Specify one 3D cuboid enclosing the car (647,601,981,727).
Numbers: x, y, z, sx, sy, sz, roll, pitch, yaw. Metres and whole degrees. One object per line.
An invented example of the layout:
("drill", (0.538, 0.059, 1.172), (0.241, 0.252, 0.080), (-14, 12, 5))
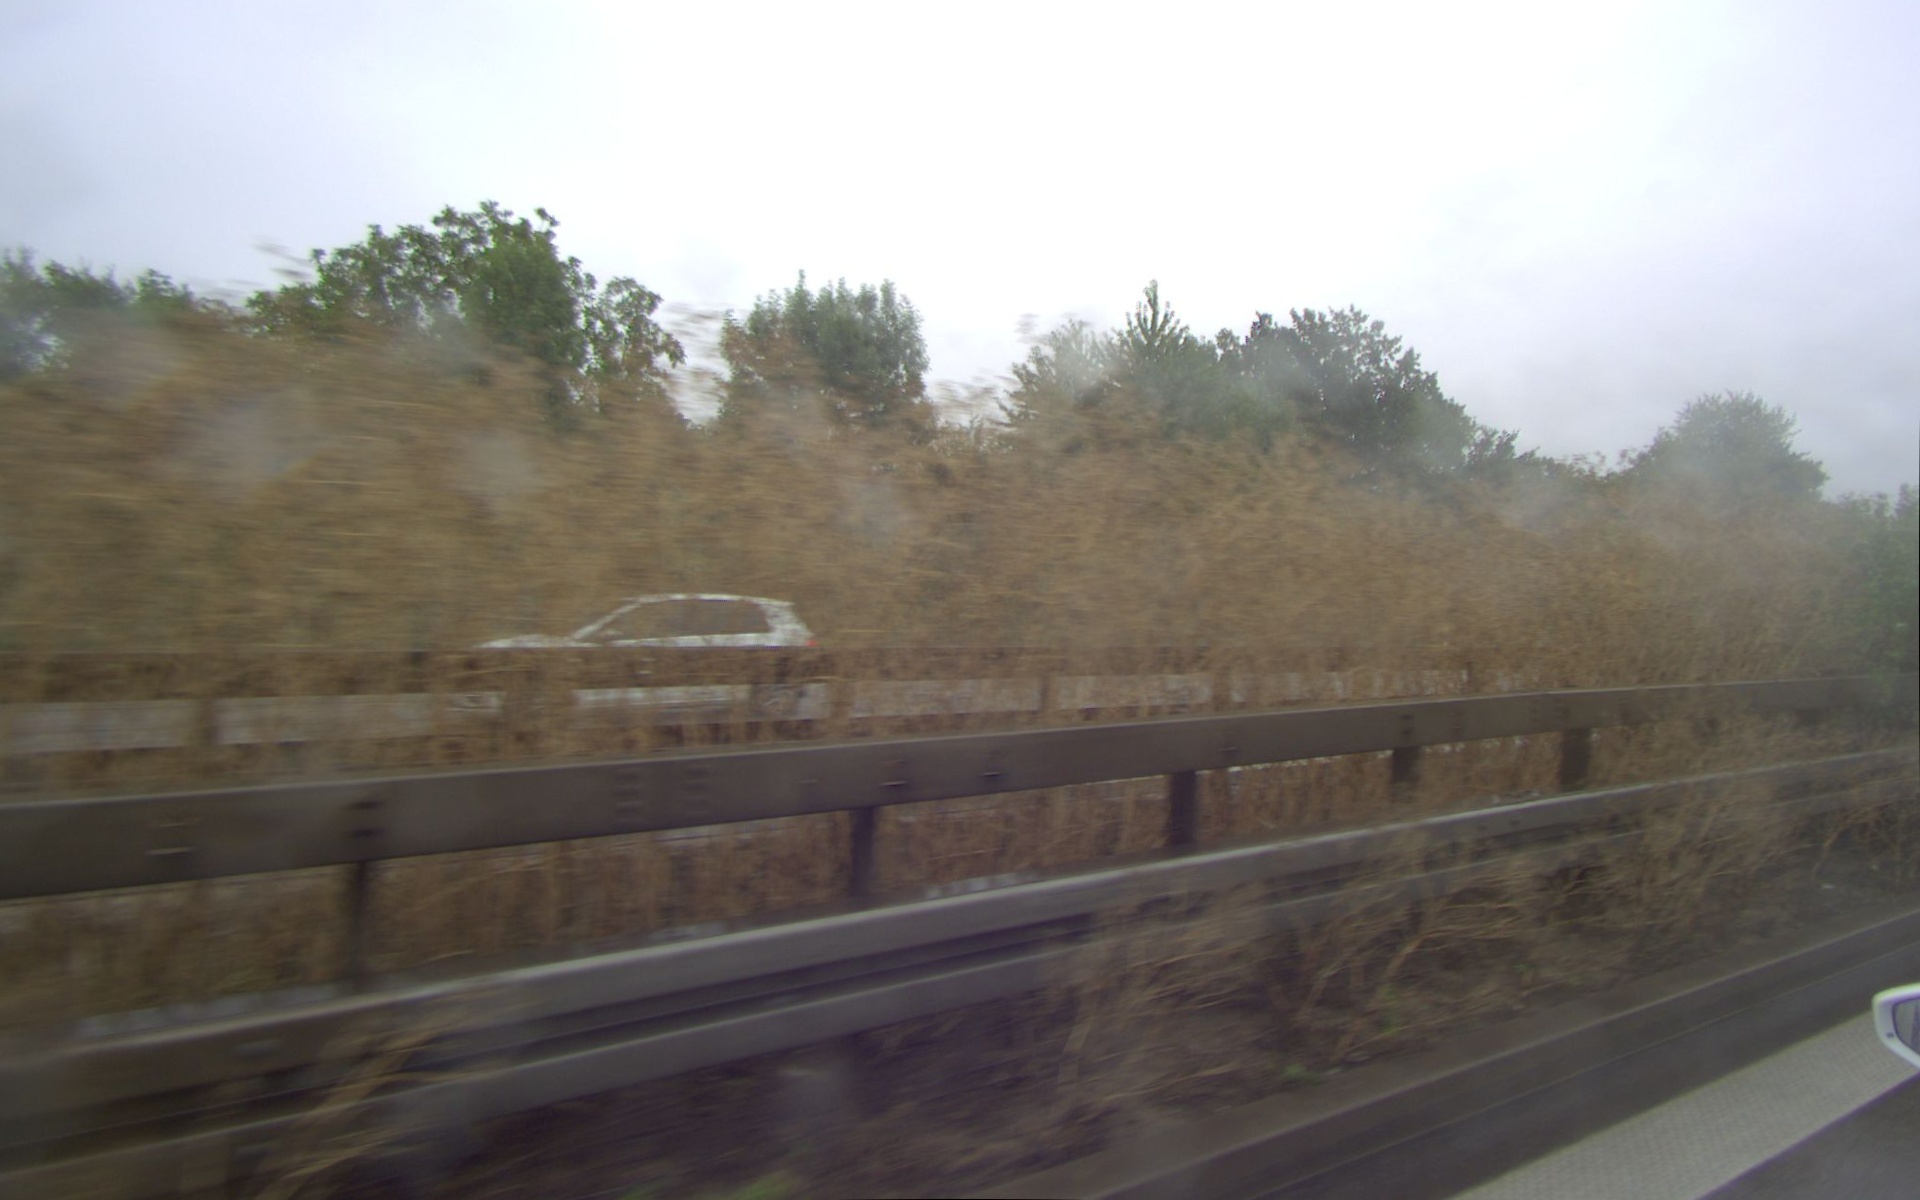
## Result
("car", (-1.799, 0.749, 12.672), (3.855, 1.378, 1.621), (2, 0, -30))
